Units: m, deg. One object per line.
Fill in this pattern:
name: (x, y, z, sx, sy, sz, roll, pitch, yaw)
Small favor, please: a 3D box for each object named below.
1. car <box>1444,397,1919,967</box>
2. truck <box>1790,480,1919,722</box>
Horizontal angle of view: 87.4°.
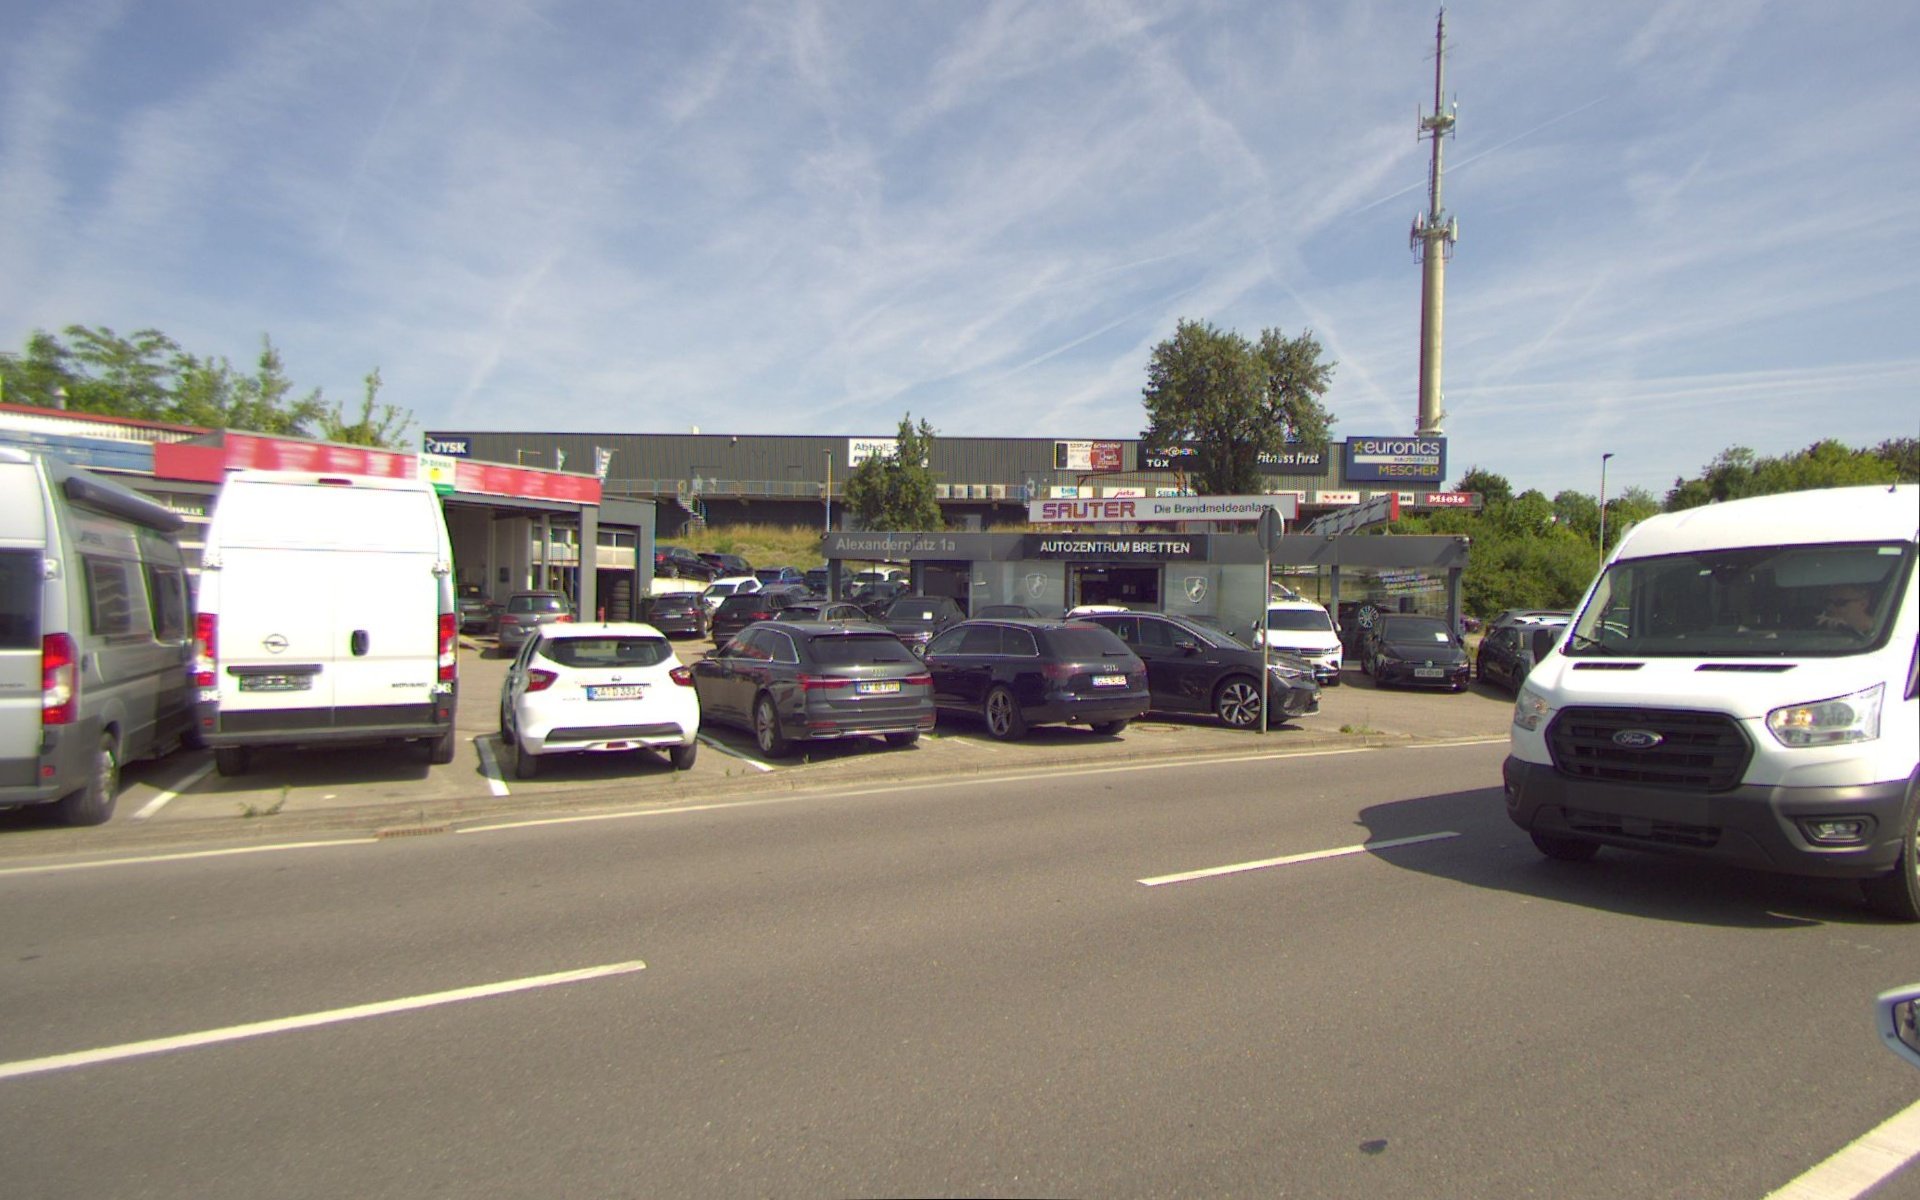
car: (6.496, 0.429, 7.267, 7.037, 2.543, 2.047, 1, -1, -33)
truck: (19.993, 0.108, 19.897, 9.869, 4.051, 2.695, 1, -1, -33)
